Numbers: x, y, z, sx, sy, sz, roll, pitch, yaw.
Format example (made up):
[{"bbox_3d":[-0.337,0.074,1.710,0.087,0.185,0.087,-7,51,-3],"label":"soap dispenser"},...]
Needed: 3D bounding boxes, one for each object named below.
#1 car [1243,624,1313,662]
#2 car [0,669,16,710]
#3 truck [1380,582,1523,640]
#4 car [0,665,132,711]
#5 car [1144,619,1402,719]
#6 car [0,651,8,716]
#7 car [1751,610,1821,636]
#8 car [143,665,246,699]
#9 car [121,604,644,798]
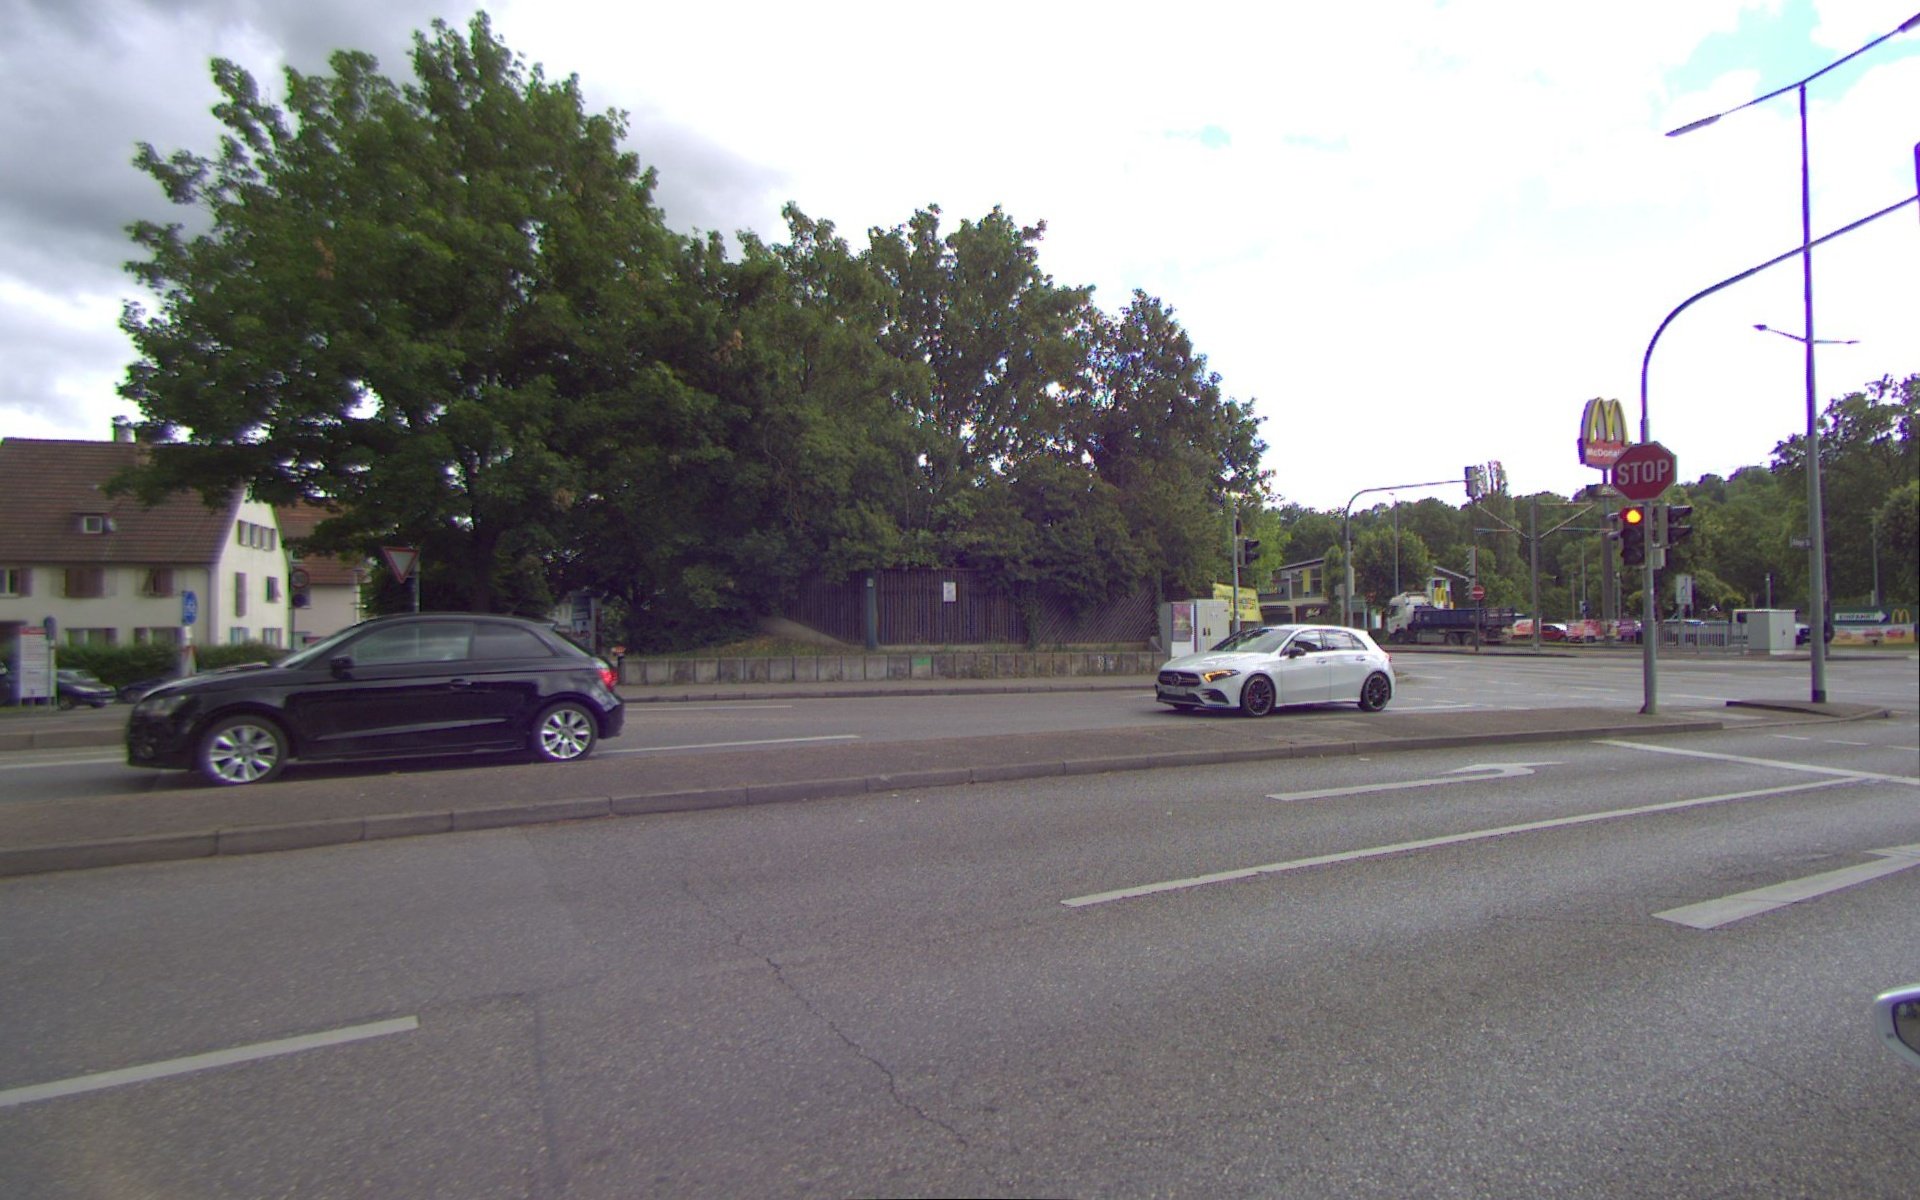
[{"bbox_3d":[13.913,1.846,44.121,1.638,1.595,3.019,0,-1,-13],"label":"car"},{"bbox_3d":[-37.639,3.396,37.679,2.876,1.516,1.462,0,-1,-11],"label":"car"},{"bbox_3d":[33.210,0.868,68.437,3.170,3.634,9.091,1,-3,-20],"label":"truck"},{"bbox_3d":[-34.261,3.339,38.366,3.666,1.585,1.761,0,-1,-11],"label":"car"},{"bbox_3d":[5.149,1.047,16.382,4.241,1.424,1.593,0,-2,-31],"label":"car"},{"bbox_3d":[-23.775,1.913,22.114,1.964,1.566,4.265,0,-3,-9],"label":"car"},{"bbox_3d":[67.166,1.889,81.732,1.979,2.040,3.963,1,-3,-34],"label":"car"},{"bbox_3d":[-34.856,3.720,45.829,3.383,1.427,1.543,0,-1,-15],"label":"car"},{"bbox_3d":[-5.058,0.782,9.199,3.854,1.434,1.606,0,-2,-34],"label":"car"}]
